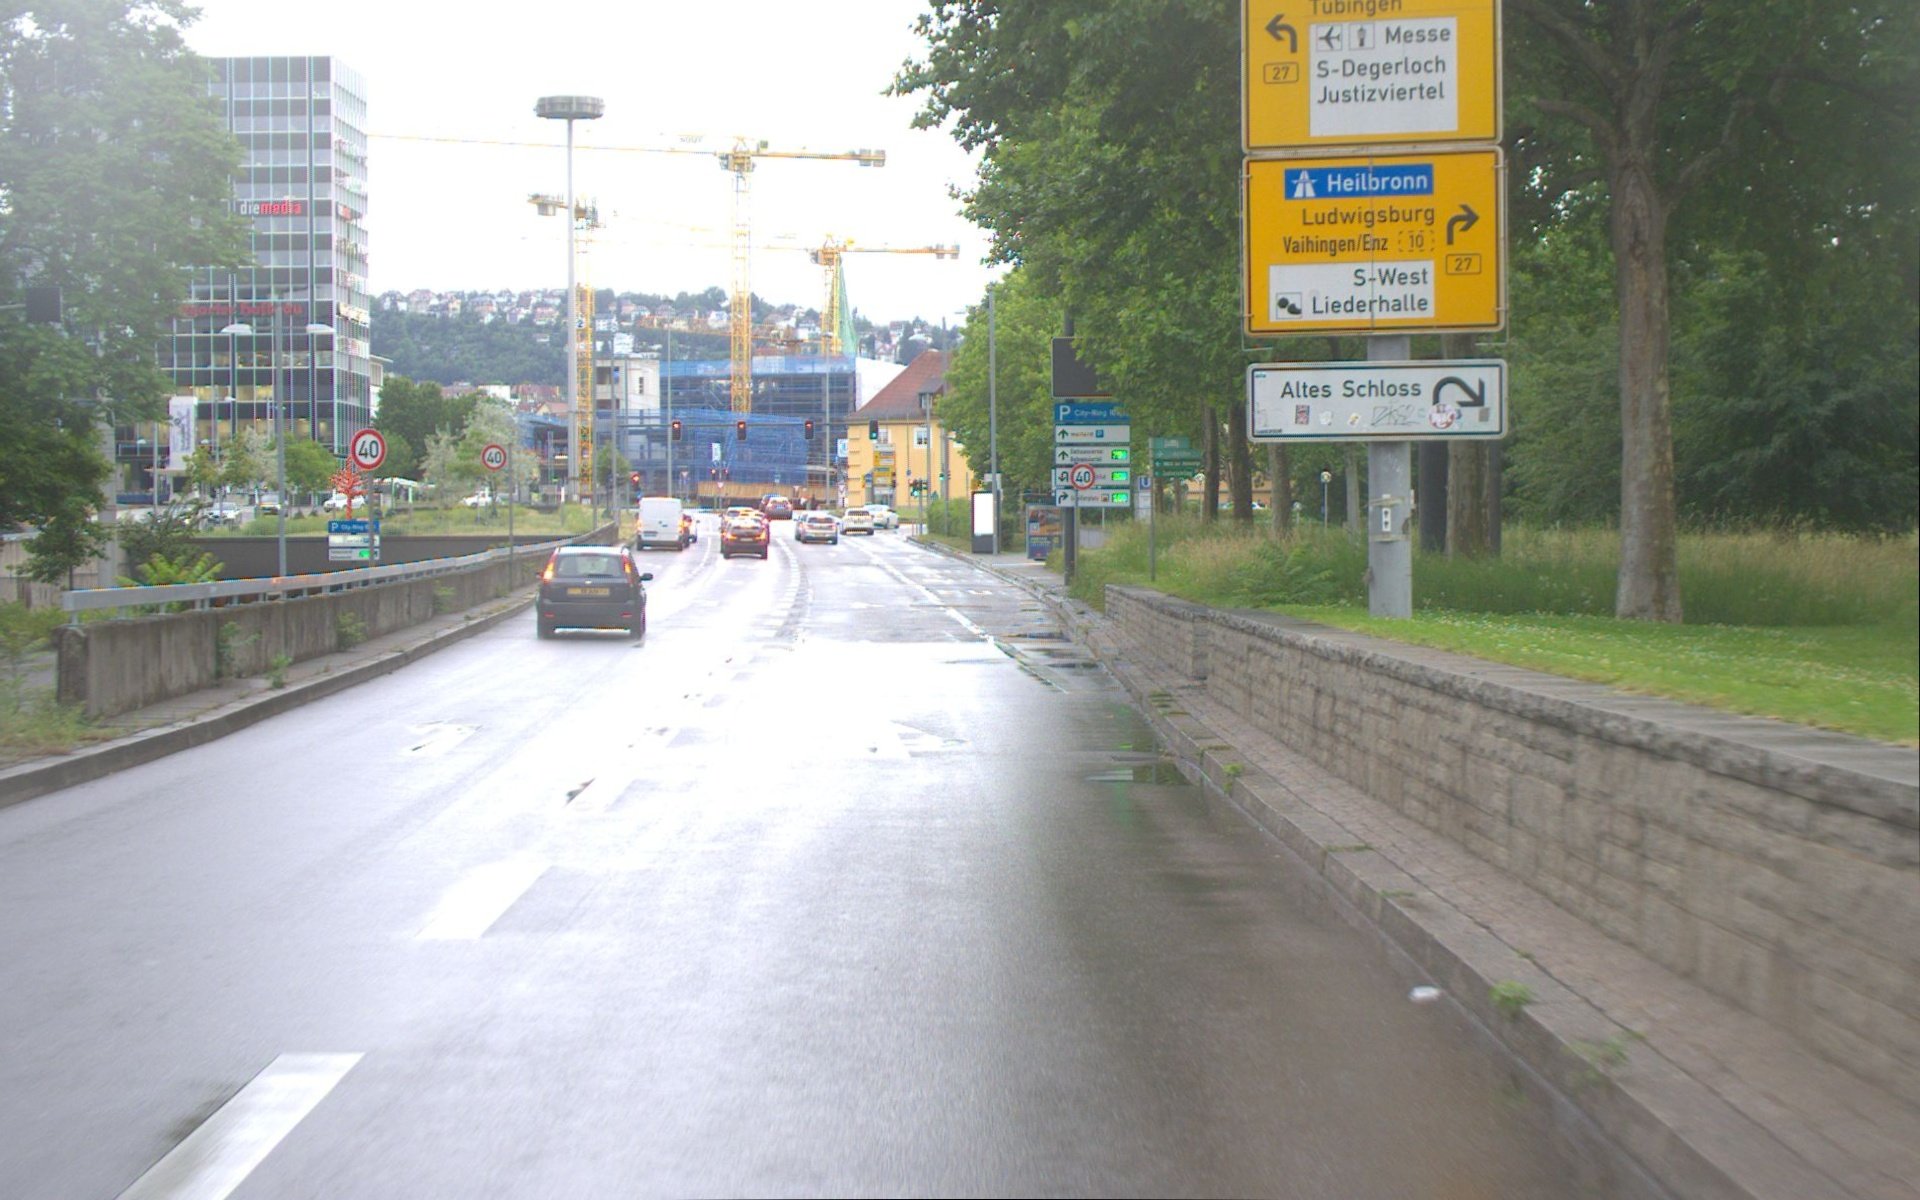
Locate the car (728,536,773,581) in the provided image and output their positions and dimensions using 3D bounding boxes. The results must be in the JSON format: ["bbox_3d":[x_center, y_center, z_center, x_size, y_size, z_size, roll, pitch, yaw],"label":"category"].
[{"bbox_3d":[-8.612,-1.702,141.316,1.739,1.765,4.000,-2,0,-3],"label":"car"}]

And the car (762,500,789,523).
[{"bbox_3d":[-12.715,-6.070,237.246,1.721,1.552,3.584,0,1,-1],"label":"car"}]

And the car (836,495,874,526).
[{"bbox_3d":[-5.875,-4.969,191.940,1.993,1.594,4.000,-2,0,-1],"label":"car"}]

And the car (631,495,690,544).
[{"bbox_3d":[-13.167,-3.533,151.366,2.219,2.007,4.000,-2,0,-1],"label":"car"}]

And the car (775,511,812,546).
[{"bbox_3d":[-8.558,-3.669,177.126,1.712,1.684,3.849,-2,0,-1],"label":"car"}]

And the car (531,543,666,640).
[{"bbox_3d":[-5.772,-0.129,54.576,1.843,1.411,3.840,-2,0,-10],"label":"car"}]

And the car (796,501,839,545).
[{"bbox_3d":[-7.074,-3.811,170.535,1.987,2.007,4.000,-2,0,-1],"label":"car"}]
